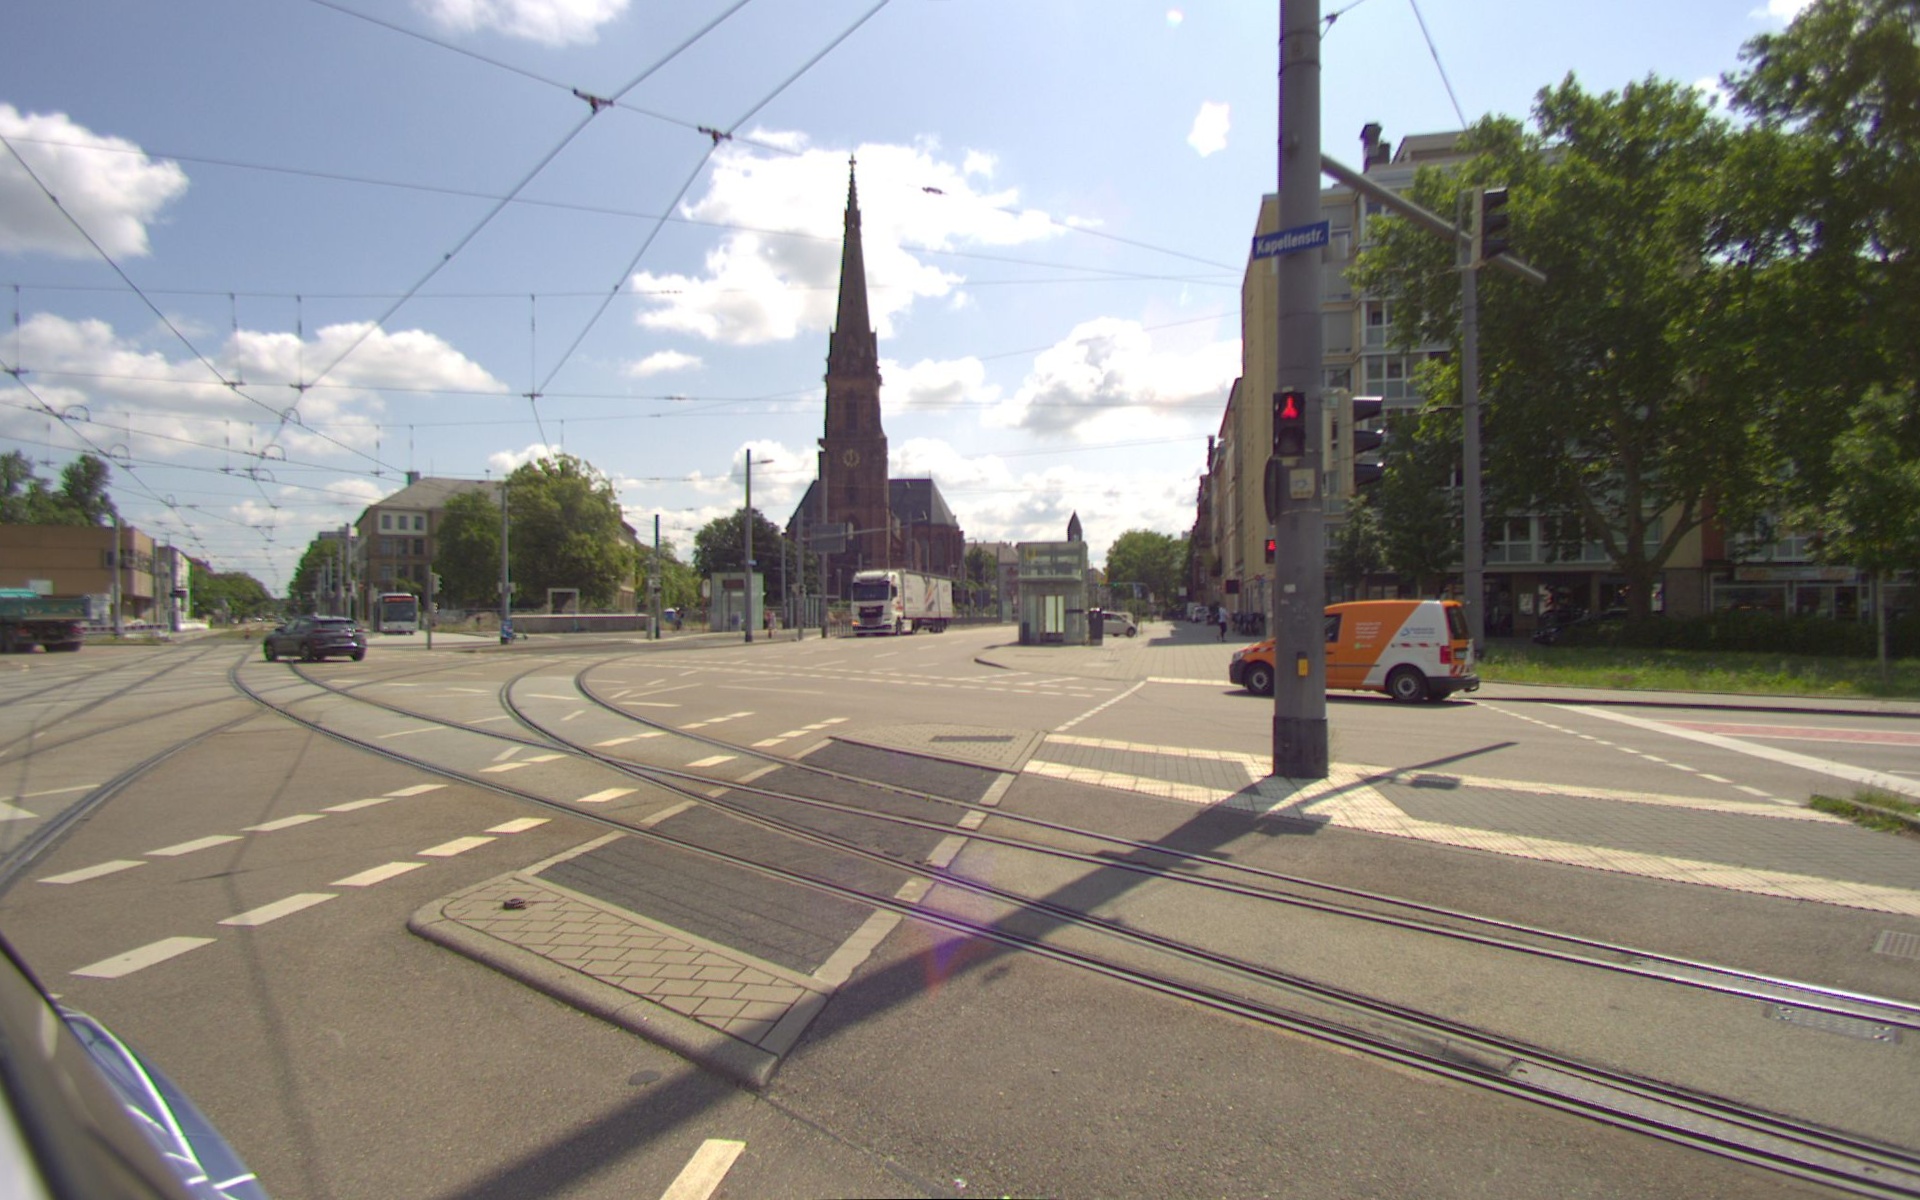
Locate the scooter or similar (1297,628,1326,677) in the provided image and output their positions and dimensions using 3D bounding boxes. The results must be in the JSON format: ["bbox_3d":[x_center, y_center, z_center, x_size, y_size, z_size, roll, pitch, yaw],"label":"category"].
[{"bbox_3d":[8.837,1.320,25.449,0.549,1.209,0.456,-2,-2,43],"label":"scooter or similar"}]

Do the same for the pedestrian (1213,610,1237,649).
[{"bbox_3d":[10.994,1.224,42.009,0.873,1.572,0.719,-2,-2,22],"label":"pedestrian"}]

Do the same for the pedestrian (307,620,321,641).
[{"bbox_3d":[-55.994,2.650,87.722,0.897,1.837,1.023,2,-2,-37],"label":"pedestrian"}]

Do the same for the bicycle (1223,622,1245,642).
[{"bbox_3d":[15.555,1.807,57.384,1.147,1.083,0.307,-1,-2,10],"label":"bicycle"}]

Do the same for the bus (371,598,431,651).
[{"bbox_3d":[-39.369,1.739,71.179,2.903,3.474,7.967,0,-2,-35],"label":"bus"}]

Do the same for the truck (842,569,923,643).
[{"bbox_3d":[-4.510,0.393,60.432,2.934,4.150,6.849,-1,-1,13],"label":"truck"}]

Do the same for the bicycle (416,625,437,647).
[{"bbox_3d":[-49.458,3.332,93.848,1.228,2.029,3.492,0,-2,-37],"label":"bicycle"}]

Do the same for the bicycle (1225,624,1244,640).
[{"bbox_3d":[16.691,1.960,61.647,1.053,0.945,0.377,-1,-2,10],"label":"bicycle"}]

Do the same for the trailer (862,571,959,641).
[{"bbox_3d":[-2.989,0.459,67.109,2.919,4.107,13.363,-1,-1,13],"label":"trailer"}]

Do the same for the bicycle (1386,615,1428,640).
[{"bbox_3d":[19.618,1.213,44.404,1.586,1.074,0.491,-1,-1,14],"label":"bicycle"}]

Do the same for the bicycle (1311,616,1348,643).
[{"bbox_3d":[17.891,1.407,49.019,1.586,1.274,0.491,-1,-1,14],"label":"bicycle"}]

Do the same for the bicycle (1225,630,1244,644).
[{"bbox_3d":[16.800,2.270,62.030,1.053,0.856,0.377,-1,-2,9],"label":"bicycle"}]

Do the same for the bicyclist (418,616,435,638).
[{"bbox_3d":[-49.455,2.497,93.827,1.107,2.029,1.322,2,-2,-37],"label":"bicyclist"}]

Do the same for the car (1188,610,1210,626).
[{"bbox_3d":[26.765,2.045,113.504,1.976,1.730,3.991,-1,-1,7],"label":"car"}]

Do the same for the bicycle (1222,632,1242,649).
[{"bbox_3d":[15.964,2.373,59.353,1.053,0.945,0.377,-1,-2,10],"label":"bicycle"}]

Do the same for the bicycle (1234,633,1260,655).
[{"bbox_3d":[15.216,2.320,53.620,1.259,1.154,0.458,-1,-2,10],"label":"bicycle"}]

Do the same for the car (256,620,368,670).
[{"bbox_3d":[-22.133,1.506,34.532,4.099,1.572,1.793,0,-2,36],"label":"car"}]

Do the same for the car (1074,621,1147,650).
[{"bbox_3d":[8.931,2.077,60.007,4.101,1.655,1.634,0,-2,-28],"label":"car"}]

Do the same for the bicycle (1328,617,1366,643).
[{"bbox_3d":[18.340,1.429,47.936,1.586,1.176,0.491,-1,-1,14],"label":"bicycle"}]

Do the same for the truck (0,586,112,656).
[{"bbox_3d":[-43.592,1.063,47.181,8.696,3.021,3.323,-2,-2,29],"label":"truck"}]

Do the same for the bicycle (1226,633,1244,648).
[{"bbox_3d":[17.634,2.576,64.897,1.053,0.945,0.377,-1,-2,9],"label":"bicycle"}]

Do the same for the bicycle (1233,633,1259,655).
[{"bbox_3d":[15.379,2.349,54.483,1.259,1.154,0.458,-1,-2,10],"label":"bicycle"}]

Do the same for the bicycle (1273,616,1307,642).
[{"bbox_3d":[16.860,1.494,51.756,1.586,1.274,0.491,-1,-1,14],"label":"bicycle"}]

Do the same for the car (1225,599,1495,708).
[{"bbox_3d":[7.228,0.962,18.566,4.241,1.779,1.746,-3,-3,42],"label":"car"}]
